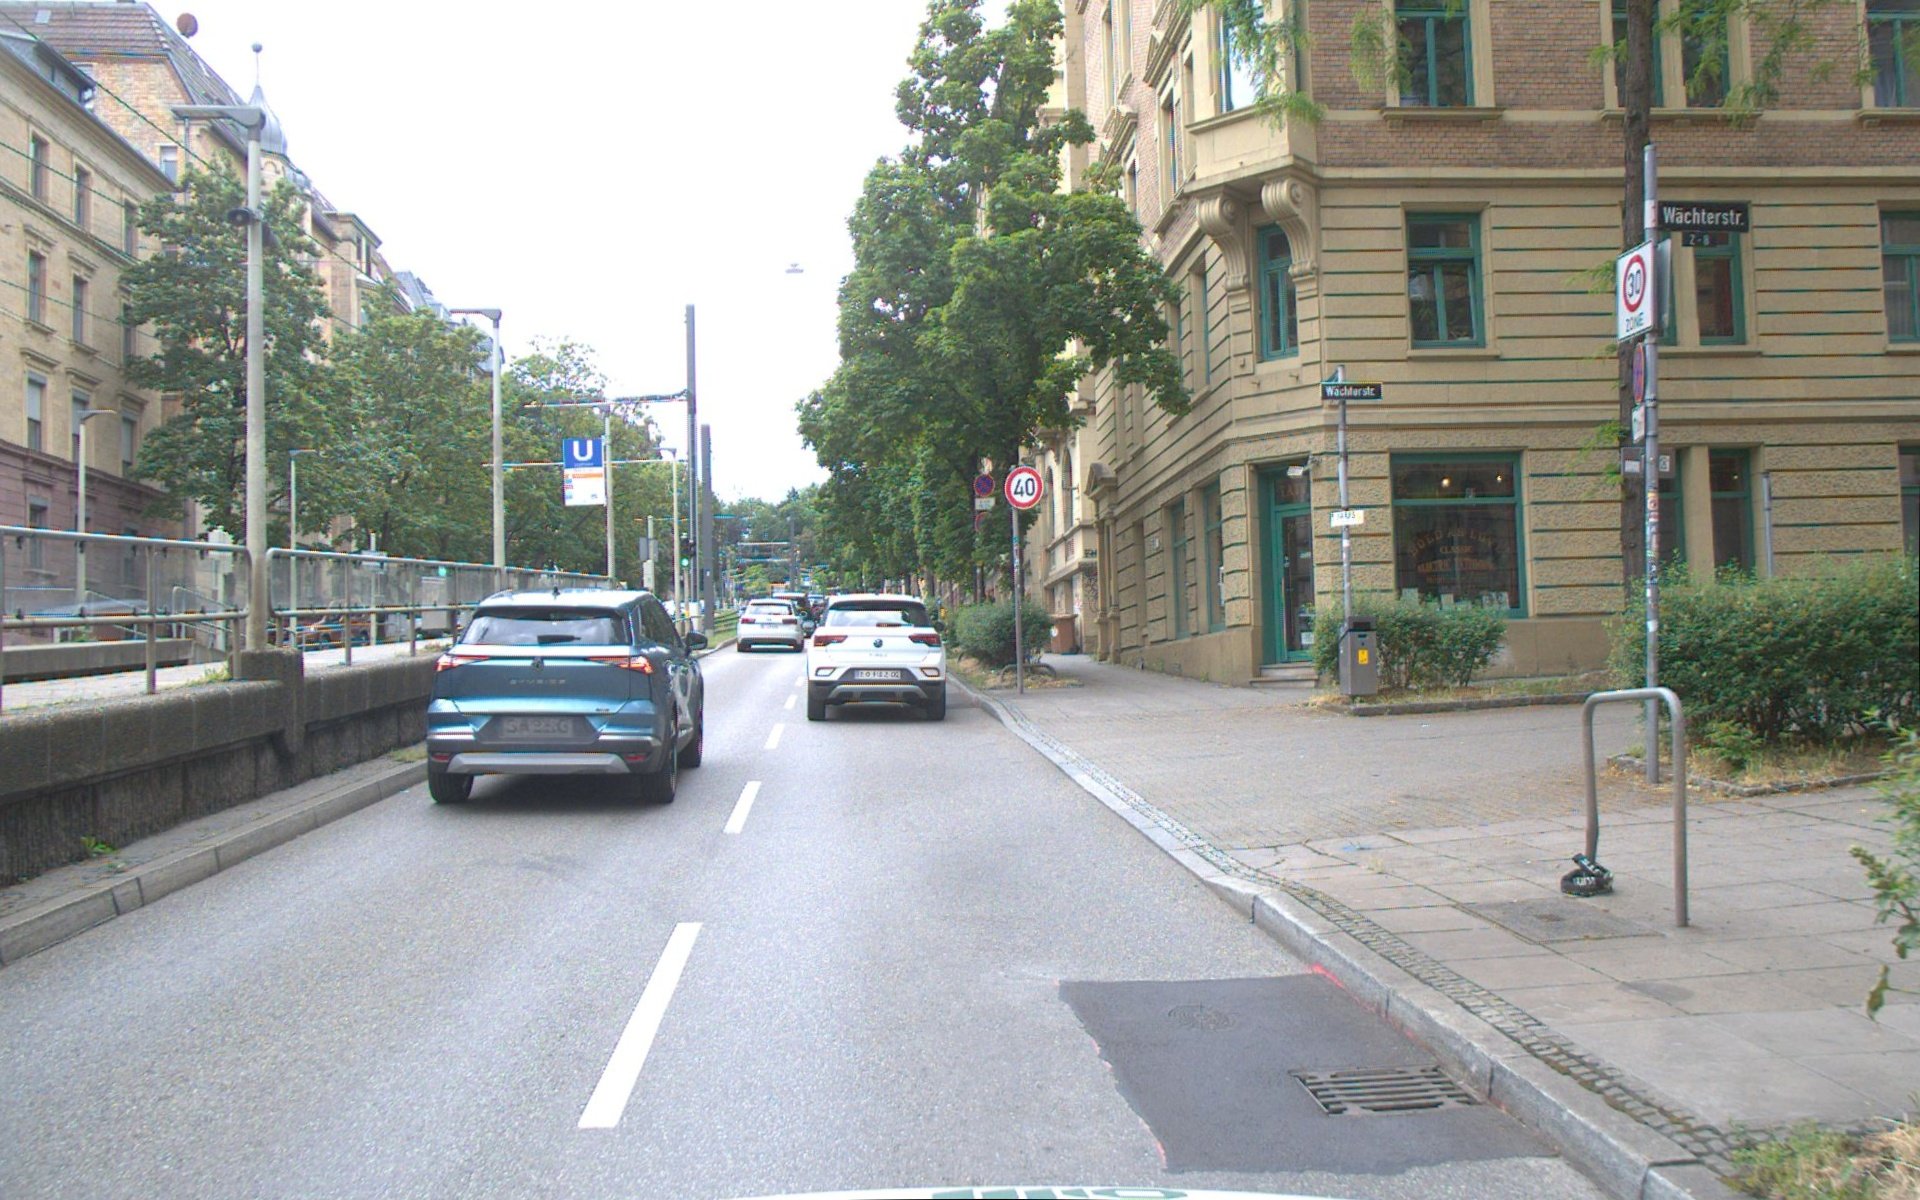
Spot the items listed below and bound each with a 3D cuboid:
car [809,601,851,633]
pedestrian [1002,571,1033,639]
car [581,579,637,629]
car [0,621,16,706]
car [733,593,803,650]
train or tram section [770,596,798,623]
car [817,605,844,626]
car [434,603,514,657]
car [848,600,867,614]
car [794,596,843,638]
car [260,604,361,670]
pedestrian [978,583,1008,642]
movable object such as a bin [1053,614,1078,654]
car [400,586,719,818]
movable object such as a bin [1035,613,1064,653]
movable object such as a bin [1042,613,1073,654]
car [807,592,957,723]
[{"bbox_3d":[-6.733,0.864,85.506,2.028,1.574,4.187,0,-1,-6],"label":"car"},{"bbox_3d":[1.609,0.155,46.599,0.672,1.861,1.120,-3,-1,-4],"label":"pedestrian"},{"bbox_3d":[-20.902,0.235,98.770,2.346,2.746,6.511,-3,0,-5],"label":"car"},{"bbox_3d":[-20.191,1.332,31.872,1.898,1.709,3.996,-2,0,-5],"label":"car"},{"bbox_3d":[-5.463,0.604,47.478,1.799,1.574,4.190,0,-1,-4],"label":"car"},{"bbox_3d":[-22.704,1.249,213.986,2.936,3.407,13.429,-1,0,-3],"label":"train or tram section"},{"bbox_3d":[-10.063,1.217,128.296,2.028,1.574,4.188,0,-1,-5],"label":"car"},{"bbox_3d":[-17.019,1.022,58.119,1.675,1.766,4.573,-1,0,-4],"label":"car"},{"bbox_3d":[-12.277,0.859,197.771,2.029,1.574,4.186,0,-1,-8],"label":"car"},{"bbox_3d":[-5.420,0.644,63.657,1.799,1.574,4.190,0,-1,-4],"label":"car"},{"bbox_3d":[-19.946,1.106,50.972,1.813,1.892,4.133,-1,0,-6],"label":"car"},{"bbox_3d":[0.915,0.353,46.652,0.672,1.601,1.215,-3,0,-4],"label":"pedestrian"},{"bbox_3d":[2.485,0.800,38.942,0.489,0.935,0.444,-2,0,15],"label":"movable object such as a bin"},{"bbox_3d":[-3.030,0.712,13.375,1.799,1.574,4.190,0,-1,-4],"label":"car"},{"bbox_3d":[2.171,0.798,40.165,0.599,0.935,0.493,-3,0,-2],"label":"movable object such as a bin"},{"bbox_3d":[2.336,0.801,39.587,0.485,0.935,0.498,-3,0,44],"label":"movable object such as a bin"},{"bbox_3d":[-1.113,0.710,21.954,1.800,1.574,4.189,0,-1,-5],"label":"car"}]
